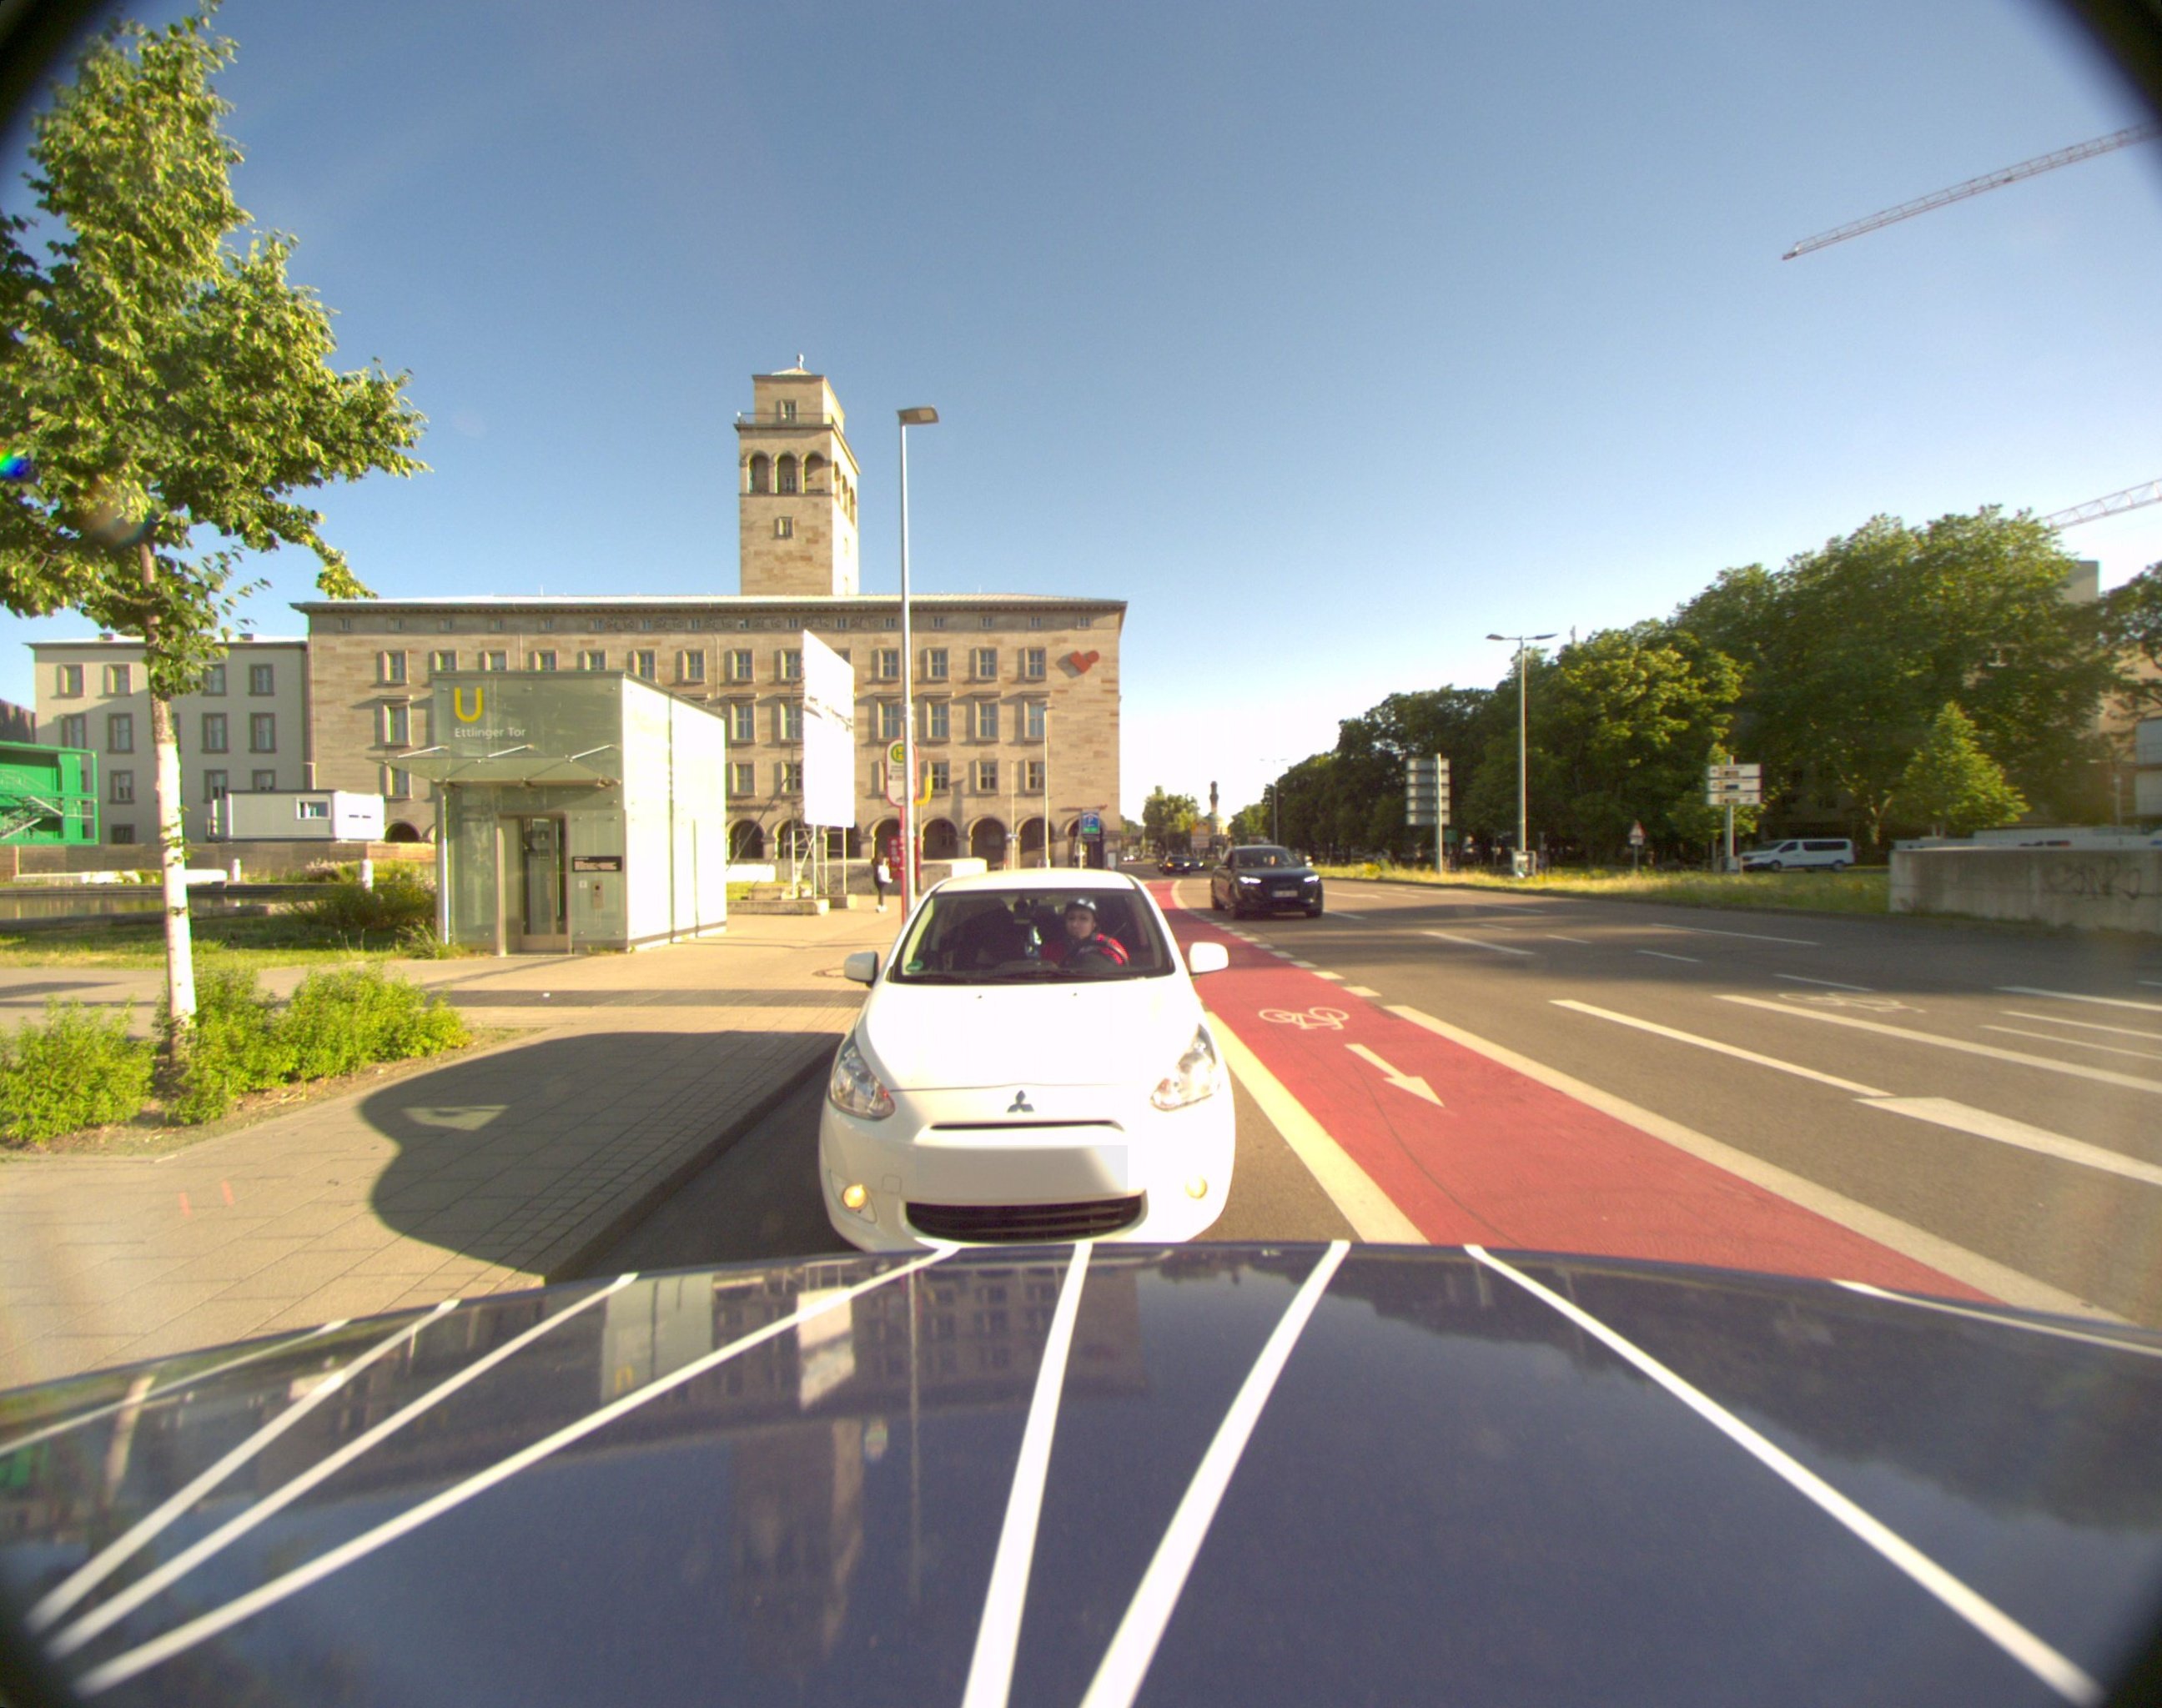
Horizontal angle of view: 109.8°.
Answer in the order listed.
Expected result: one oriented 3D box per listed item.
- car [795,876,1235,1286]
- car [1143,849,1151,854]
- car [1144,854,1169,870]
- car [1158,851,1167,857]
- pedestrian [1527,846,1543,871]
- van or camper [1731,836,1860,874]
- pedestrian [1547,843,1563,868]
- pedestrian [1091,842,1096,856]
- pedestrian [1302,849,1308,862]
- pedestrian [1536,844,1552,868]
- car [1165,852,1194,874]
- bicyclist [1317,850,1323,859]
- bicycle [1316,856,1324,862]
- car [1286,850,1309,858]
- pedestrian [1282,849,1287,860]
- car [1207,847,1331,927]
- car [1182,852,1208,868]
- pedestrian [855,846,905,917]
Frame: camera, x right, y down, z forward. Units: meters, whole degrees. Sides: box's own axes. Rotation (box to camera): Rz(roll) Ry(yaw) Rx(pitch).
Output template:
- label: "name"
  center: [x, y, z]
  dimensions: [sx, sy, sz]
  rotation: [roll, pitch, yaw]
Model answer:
- label: "car"
  center: [-0.210, 0.956, 4.929]
  dimensions: [1.678, 1.440, 3.889]
  rotation: [-2, 0, 1]
- label: "car"
  center: [18.038, -0.592, 207.438]
  dimensions: [1.873, 1.390, 3.999]
  rotation: [-1, 0, -2]
- label: "car"
  center: [7.548, 0.785, 76.268]
  dimensions: [1.998, 1.398, 4.488]
  rotation: [-2, 0, 0]
- label: "car"
  center: [18.975, -0.031, 176.989]
  dimensions: [1.872, 1.390, 3.999]
  rotation: [-1, 0, 0]
- label: "pedestrian"
  center: [32.260, 0.310, 54.014]
  dimensions: [0.707, 1.715, 0.762]
  rotation: [-1, 1, 1]
- label: "van or camper"
  center: [42.304, 0.063, 45.079]
  dimensions: [5.649, 2.002, 1.948]
  rotation: [-2, 1, 2]
- label: "pedestrian"
  center: [33.829, 0.095, 54.221]
  dimensions: [0.707, 1.715, 0.762]
  rotation: [-1, 1, -3]
- label: "pedestrian"
  center: [1.629, -0.658, 100.383]
  dimensions: [0.704, 1.843, 0.828]
  rotation: [-1, 1, 0]
- label: "pedestrian"
  center: [32.150, 0.186, 108.932]
  dimensions: [0.628, 1.837, 0.925]
  rotation: [-1, 1, -1]
- label: "pedestrian"
  center: [33.029, 0.156, 54.192]
  dimensions: [0.665, 1.715, 0.762]
  rotation: [-1, 1, 1]
- label: "car"
  center: [8.240, 0.734, 63.941]
  dimensions: [1.998, 1.709, 4.326]
  rotation: [-1, 0, 1]
- label: "bicyclist"
  center: [31.925, 0.082, 101.521]
  dimensions: [0.610, 1.274, 0.715]
  rotation: [-1, 1, -1]
- label: "bicycle"
  center: [31.931, 0.700, 101.531]
  dimensions: [0.610, 0.838, 1.745]
  rotation: [-1, 0, -1]
- label: "car"
  center: [39.754, -0.039, 139.785]
  dimensions: [4.007, 1.499, 1.995]
  rotation: [-1, 1, -36]
- label: "pedestrian"
  center: [32.487, 0.070, 121.487]
  dimensions: [0.568, 1.837, 0.734]
  rotation: [-1, 1, -1]
- label: "car"
  center: [4.304, 0.678, 18.157]
  dimensions: [1.937, 1.634, 4.617]
  rotation: [-1, 0, 2]
- label: "car"
  center: [11.304, 0.582, 75.632]
  dimensions: [1.998, 1.398, 4.488]
  rotation: [-2, 0, 1]
- label: "pedestrian"
  center: [-5.296, 0.708, 20.065]
  dimensions: [0.942, 1.776, 1.072]
  rotation: [3, 1, 1]
